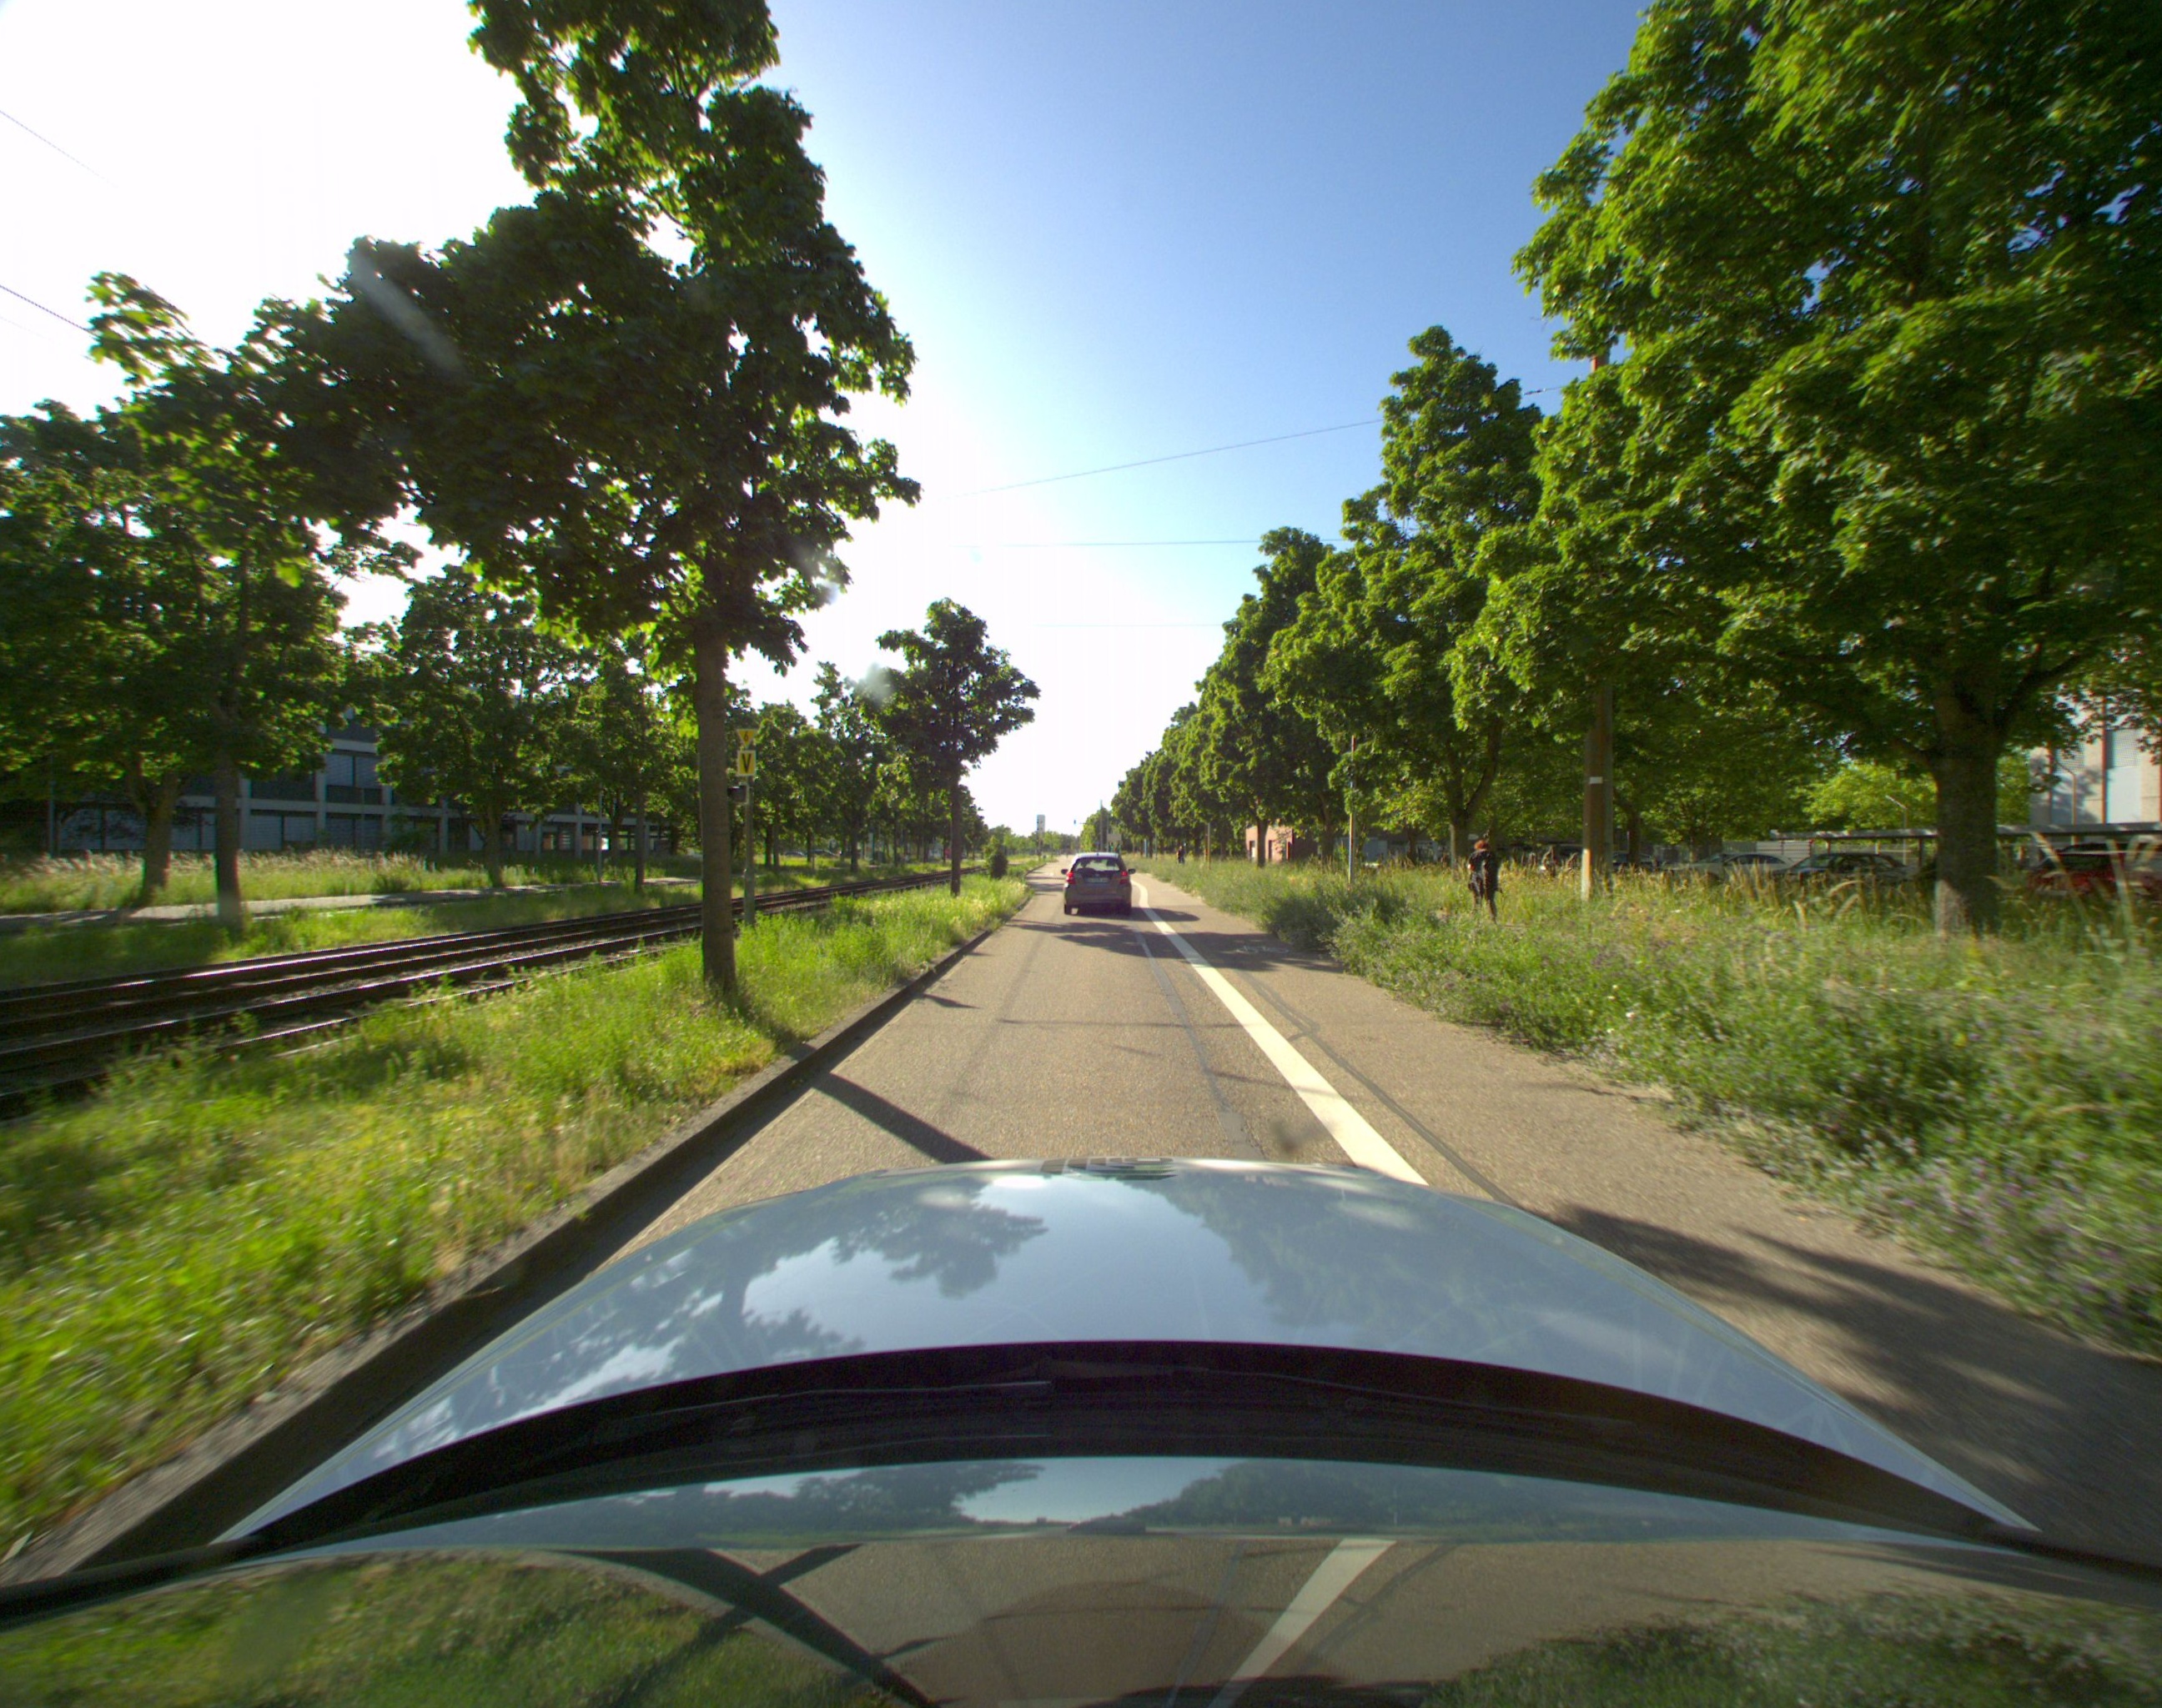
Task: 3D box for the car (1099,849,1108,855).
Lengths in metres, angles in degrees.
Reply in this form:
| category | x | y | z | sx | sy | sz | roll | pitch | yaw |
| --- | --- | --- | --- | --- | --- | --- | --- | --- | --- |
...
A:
| category | x | y | z | sx | sy | sz | roll | pitch | yaw |
| --- | --- | --- | --- | --- | --- | --- | --- | --- | --- |
| car | 5.191 | -0.375 | 190.098 | 1.771 | 1.386 | 3.863 | -1 | 0 | -5 |

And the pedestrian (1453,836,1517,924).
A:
| category | x | y | z | sx | sy | sz | roll | pitch | yaw |
| --- | --- | --- | --- | --- | --- | --- | --- | --- | --- |
| pedestrian | 7.450 | 0.466 | 15.039 | 0.821 | 1.569 | 0.763 | 0 | 0 | 2 |

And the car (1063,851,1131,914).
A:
| category | x | y | z | sx | sy | sz | roll | pitch | yaw |
| --- | --- | --- | --- | --- | --- | --- | --- | --- | --- |
| car | 0.396 | 0.674 | 21.052 | 1.619 | 1.499 | 3.456 | 0 | 0 | 0 |

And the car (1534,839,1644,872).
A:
| category | x | y | z | sx | sy | sz | roll | pitch | yaw |
| --- | --- | --- | --- | --- | --- | --- | --- | --- | --- |
| car | 23.572 | 0.065 | 37.892 | 4.015 | 1.505 | 1.739 | 0 | 0 | 1 |

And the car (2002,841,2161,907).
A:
| category | x | y | z | sx | sy | sz | roll | pitch | yaw |
| --- | --- | --- | --- | --- | --- | --- | --- | --- | --- |
| car | 23.519 | 0.406 | 17.838 | 4.271 | 1.324 | 1.943 | -1 | 1 | 5 |

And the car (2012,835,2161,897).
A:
| category | x | y | z | sx | sy | sz | roll | pitch | yaw |
| --- | --- | --- | --- | --- | --- | --- | --- | --- | --- |
| car | 35.033 | 0.381 | 27.617 | 4.567 | 2.013 | 1.959 | 0 | 0 | 2 |

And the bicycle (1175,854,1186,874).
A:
| category | x | y | z | sx | sy | sz | roll | pitch | yaw |
| --- | --- | --- | --- | --- | --- | --- | --- | --- | --- |
| bicycle | 6.258 | 0.648 | 51.132 | 0.481 | 1.204 | 2.144 | 0 | -2 | 2 |

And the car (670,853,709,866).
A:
| category | x | y | z | sx | sy | sz | roll | pitch | yaw |
| --- | --- | --- | --- | --- | --- | --- | --- | --- | --- |
| car | -51.700 | 0.688 | 107.434 | 4.447 | 1.640 | 1.970 | 0 | 0 | -33 |

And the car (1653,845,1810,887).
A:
| category | x | y | z | sx | sy | sz | roll | pitch | yaw |
| --- | --- | --- | --- | --- | --- | --- | --- | --- | --- |
| car | 23.397 | 0.408 | 29.430 | 4.146 | 1.432 | 1.827 | 0 | 0 | 4 |

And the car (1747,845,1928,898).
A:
| category | x | y | z | sx | sy | sz | roll | pitch | yaw |
| --- | --- | --- | --- | --- | --- | --- | --- | --- | --- |
| car | 22.720 | 0.509 | 24.537 | 3.984 | 1.525 | 1.705 | 0 | 0 | -2 |

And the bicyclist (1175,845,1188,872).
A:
| category | x | y | z | sx | sy | sz | roll | pitch | yaw |
| --- | --- | --- | --- | --- | --- | --- | --- | --- | --- |
| bicyclist | 6.289 | 0.284 | 51.099 | 0.681 | 1.720 | 0.901 | 0 | -1 | -3 |

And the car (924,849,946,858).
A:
| category | x | y | z | sx | sy | sz | roll | pitch | yaw |
| --- | --- | --- | --- | --- | --- | --- | --- | --- | --- |
| car | -32.118 | -0.066 | 179.393 | 1.837 | 1.974 | 4.817 | 0 | 0 | 38 |

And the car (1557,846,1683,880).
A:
| category | x | y | z | sx | sy | sz | roll | pitch | yaw |
| --- | --- | --- | --- | --- | --- | --- | --- | --- | --- |
| car | 23.566 | 0.382 | 35.725 | 4.336 | 1.459 | 1.691 | 0 | 0 | 4 |
